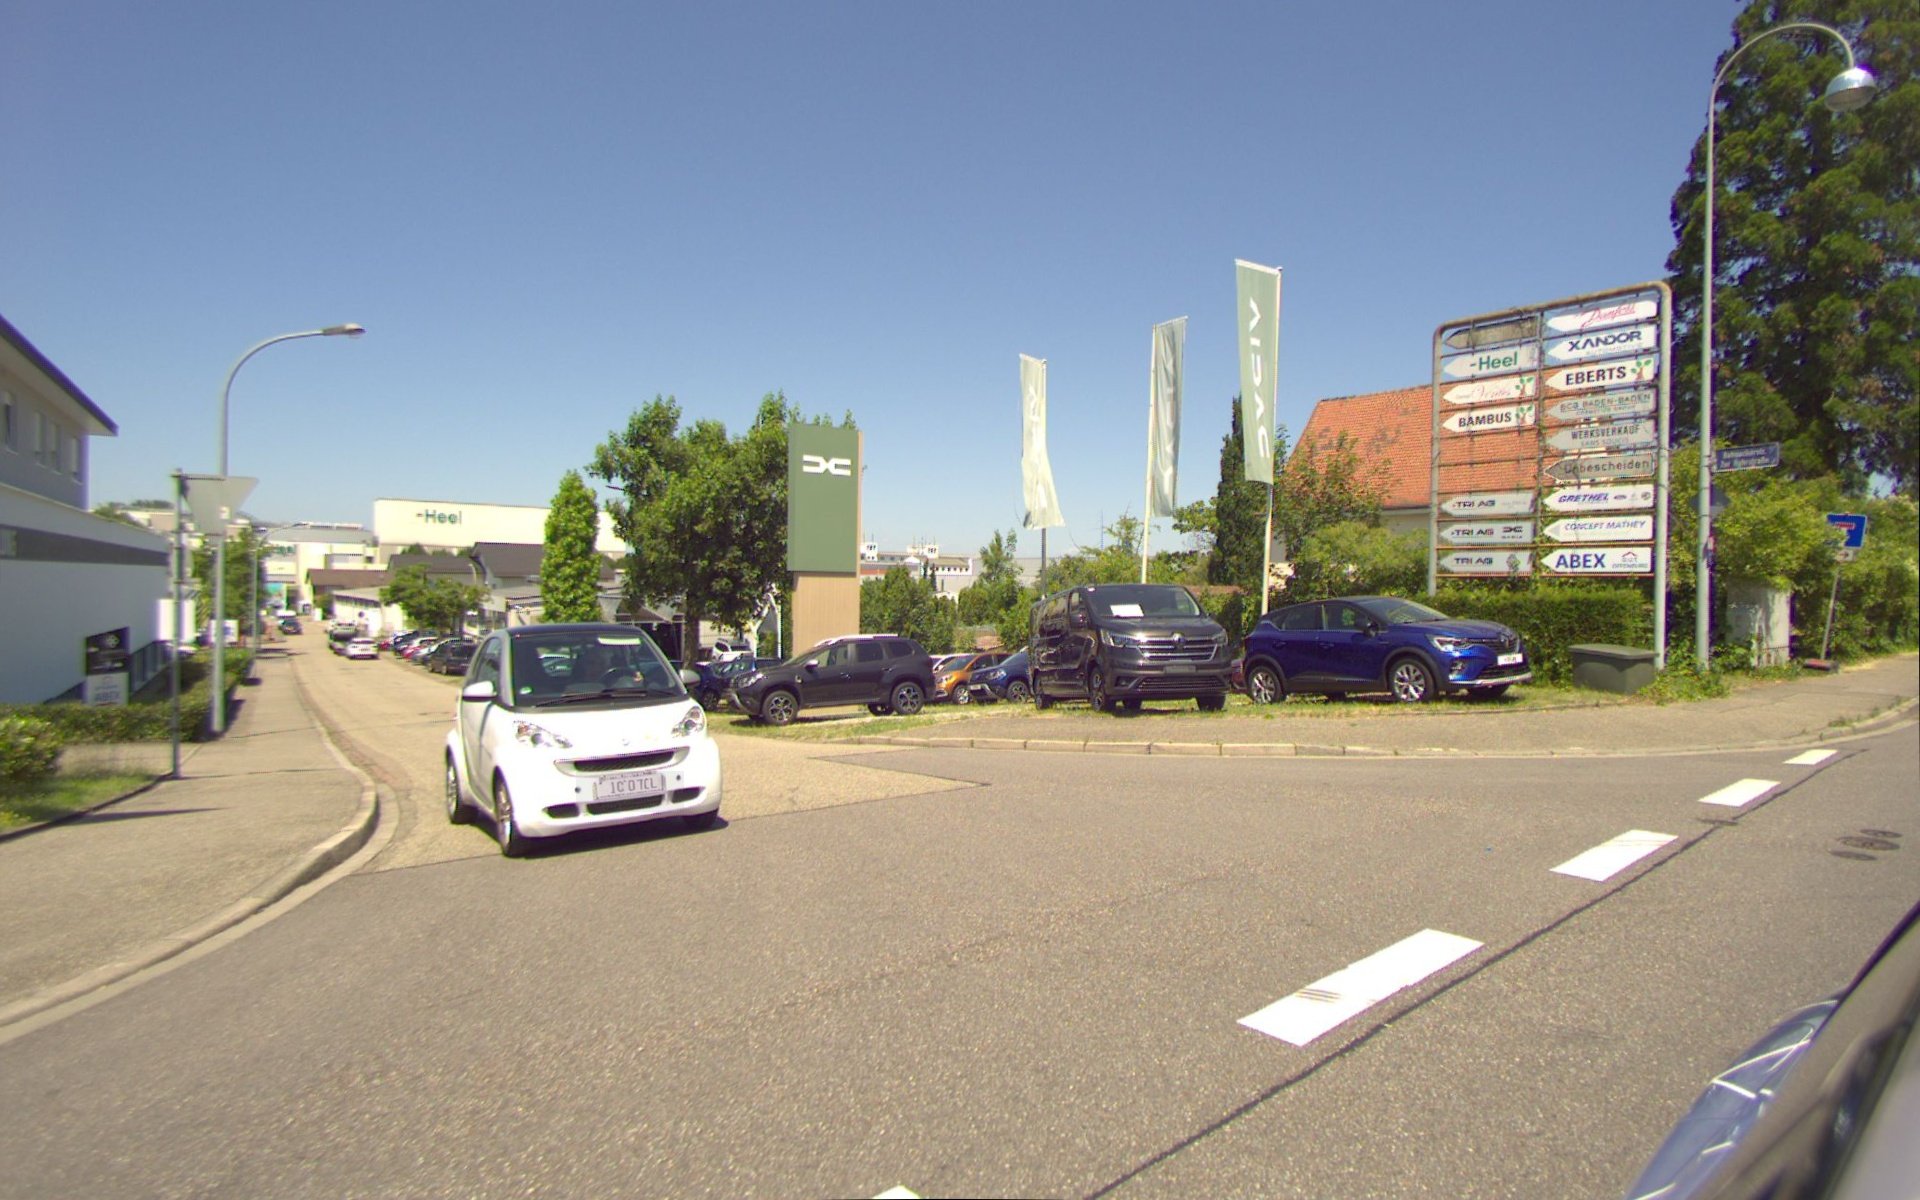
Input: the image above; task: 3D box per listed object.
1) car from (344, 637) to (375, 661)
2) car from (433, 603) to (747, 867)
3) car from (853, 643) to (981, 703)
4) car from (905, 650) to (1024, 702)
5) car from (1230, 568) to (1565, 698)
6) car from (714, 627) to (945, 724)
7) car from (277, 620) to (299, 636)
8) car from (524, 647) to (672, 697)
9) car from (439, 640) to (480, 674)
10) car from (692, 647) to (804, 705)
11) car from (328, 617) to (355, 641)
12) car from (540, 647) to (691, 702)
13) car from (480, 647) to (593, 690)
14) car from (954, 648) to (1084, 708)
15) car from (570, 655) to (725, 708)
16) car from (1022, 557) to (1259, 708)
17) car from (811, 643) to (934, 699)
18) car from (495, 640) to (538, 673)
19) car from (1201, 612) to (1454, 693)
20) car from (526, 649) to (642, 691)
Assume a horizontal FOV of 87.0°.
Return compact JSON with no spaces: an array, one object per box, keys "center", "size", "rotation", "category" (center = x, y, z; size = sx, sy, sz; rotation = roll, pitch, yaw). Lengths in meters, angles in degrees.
[{"center":[-41.606,3.382,70.124],"size":[1.730,1.484,3.924],"rotation":[1,-1,-32],"category":"car"},{"center":[-2.954,0.890,7.773],"size":[1.567,1.539,2.775],"rotation":[-3,-1,-35],"category":"car"},{"center":[-1.379,2.340,33.350],"size":[3.930,1.725,1.872],"rotation":[1,-1,-41],"category":"car"},{"center":[0.168,2.295,31.063],"size":[3.373,1.462,1.737],"rotation":[2,-4,-42],"category":"car"},{"center":[6.088,0.560,14.624],"size":[1.819,1.534,4.083],"rotation":[-2,-4,-29],"category":"car"},{"center":[-2.653,1.454,20.535],"size":[4.277,1.679,1.832],"rotation":[-1,-2,-24],"category":"car"},{"center":[-76.147,3.140,114.644],"size":[1.920,1.739,3.534],"rotation":[1,-1,-35],"category":"car"},{"center":[-12.273,2.480,34.527],"size":[1.865,1.556,4.340],"rotation":[-3,-6,42],"category":"car"},{"center":[-27.721,3.108,55.997],"size":[1.743,1.654,3.871],"rotation":[1,-1,-30],"category":"car"},{"center":[-7.134,2.490,33.847],"size":[1.863,1.638,3.991],"rotation":[1,-1,-43],"category":"car"},{"center":[-51.558,2.415,84.323],"size":[1.848,1.872,4.002],"rotation":[1,-1,-32],"category":"car"},{"center":[-10.473,2.311,30.994],"size":[1.743,1.556,4.028],"rotation":[-2,-6,39],"category":"car"},{"center":[-16.910,2.694,40.493],"size":[3.922,1.543,1.780],"rotation":[1,-1,-33],"category":"car"},{"center":[1.676,2.192,28.159],"size":[3.372,1.529,1.737],"rotation":[6,-7,-41],"category":"car"},{"center":[-8.867,2.319,28.945],"size":[1.707,1.391,3.941],"rotation":[-2,-5,39],"category":"car"},{"center":[2.524,0.602,15.823],"size":[1.957,1.925,5.281],"rotation":[-1,-4,-9],"category":"car"},{"center":[-3.014,2.420,35.211],"size":[3.930,1.725,1.872],"rotation":[1,-1,-41],"category":"car"},{"center":[-25.105,3.142,57.221],"size":[1.743,1.654,3.871],"rotation":[1,-1,-30],"category":"car"},{"center":[7.426,1.095,20.767],"size":[4.452,1.381,1.708],"rotation":[-3,-5,1],"category":"car"},{"center":[-14.499,2.656,39.102],"size":[3.922,1.406,1.780],"rotation":[1,-1,-33],"category":"car"}]
